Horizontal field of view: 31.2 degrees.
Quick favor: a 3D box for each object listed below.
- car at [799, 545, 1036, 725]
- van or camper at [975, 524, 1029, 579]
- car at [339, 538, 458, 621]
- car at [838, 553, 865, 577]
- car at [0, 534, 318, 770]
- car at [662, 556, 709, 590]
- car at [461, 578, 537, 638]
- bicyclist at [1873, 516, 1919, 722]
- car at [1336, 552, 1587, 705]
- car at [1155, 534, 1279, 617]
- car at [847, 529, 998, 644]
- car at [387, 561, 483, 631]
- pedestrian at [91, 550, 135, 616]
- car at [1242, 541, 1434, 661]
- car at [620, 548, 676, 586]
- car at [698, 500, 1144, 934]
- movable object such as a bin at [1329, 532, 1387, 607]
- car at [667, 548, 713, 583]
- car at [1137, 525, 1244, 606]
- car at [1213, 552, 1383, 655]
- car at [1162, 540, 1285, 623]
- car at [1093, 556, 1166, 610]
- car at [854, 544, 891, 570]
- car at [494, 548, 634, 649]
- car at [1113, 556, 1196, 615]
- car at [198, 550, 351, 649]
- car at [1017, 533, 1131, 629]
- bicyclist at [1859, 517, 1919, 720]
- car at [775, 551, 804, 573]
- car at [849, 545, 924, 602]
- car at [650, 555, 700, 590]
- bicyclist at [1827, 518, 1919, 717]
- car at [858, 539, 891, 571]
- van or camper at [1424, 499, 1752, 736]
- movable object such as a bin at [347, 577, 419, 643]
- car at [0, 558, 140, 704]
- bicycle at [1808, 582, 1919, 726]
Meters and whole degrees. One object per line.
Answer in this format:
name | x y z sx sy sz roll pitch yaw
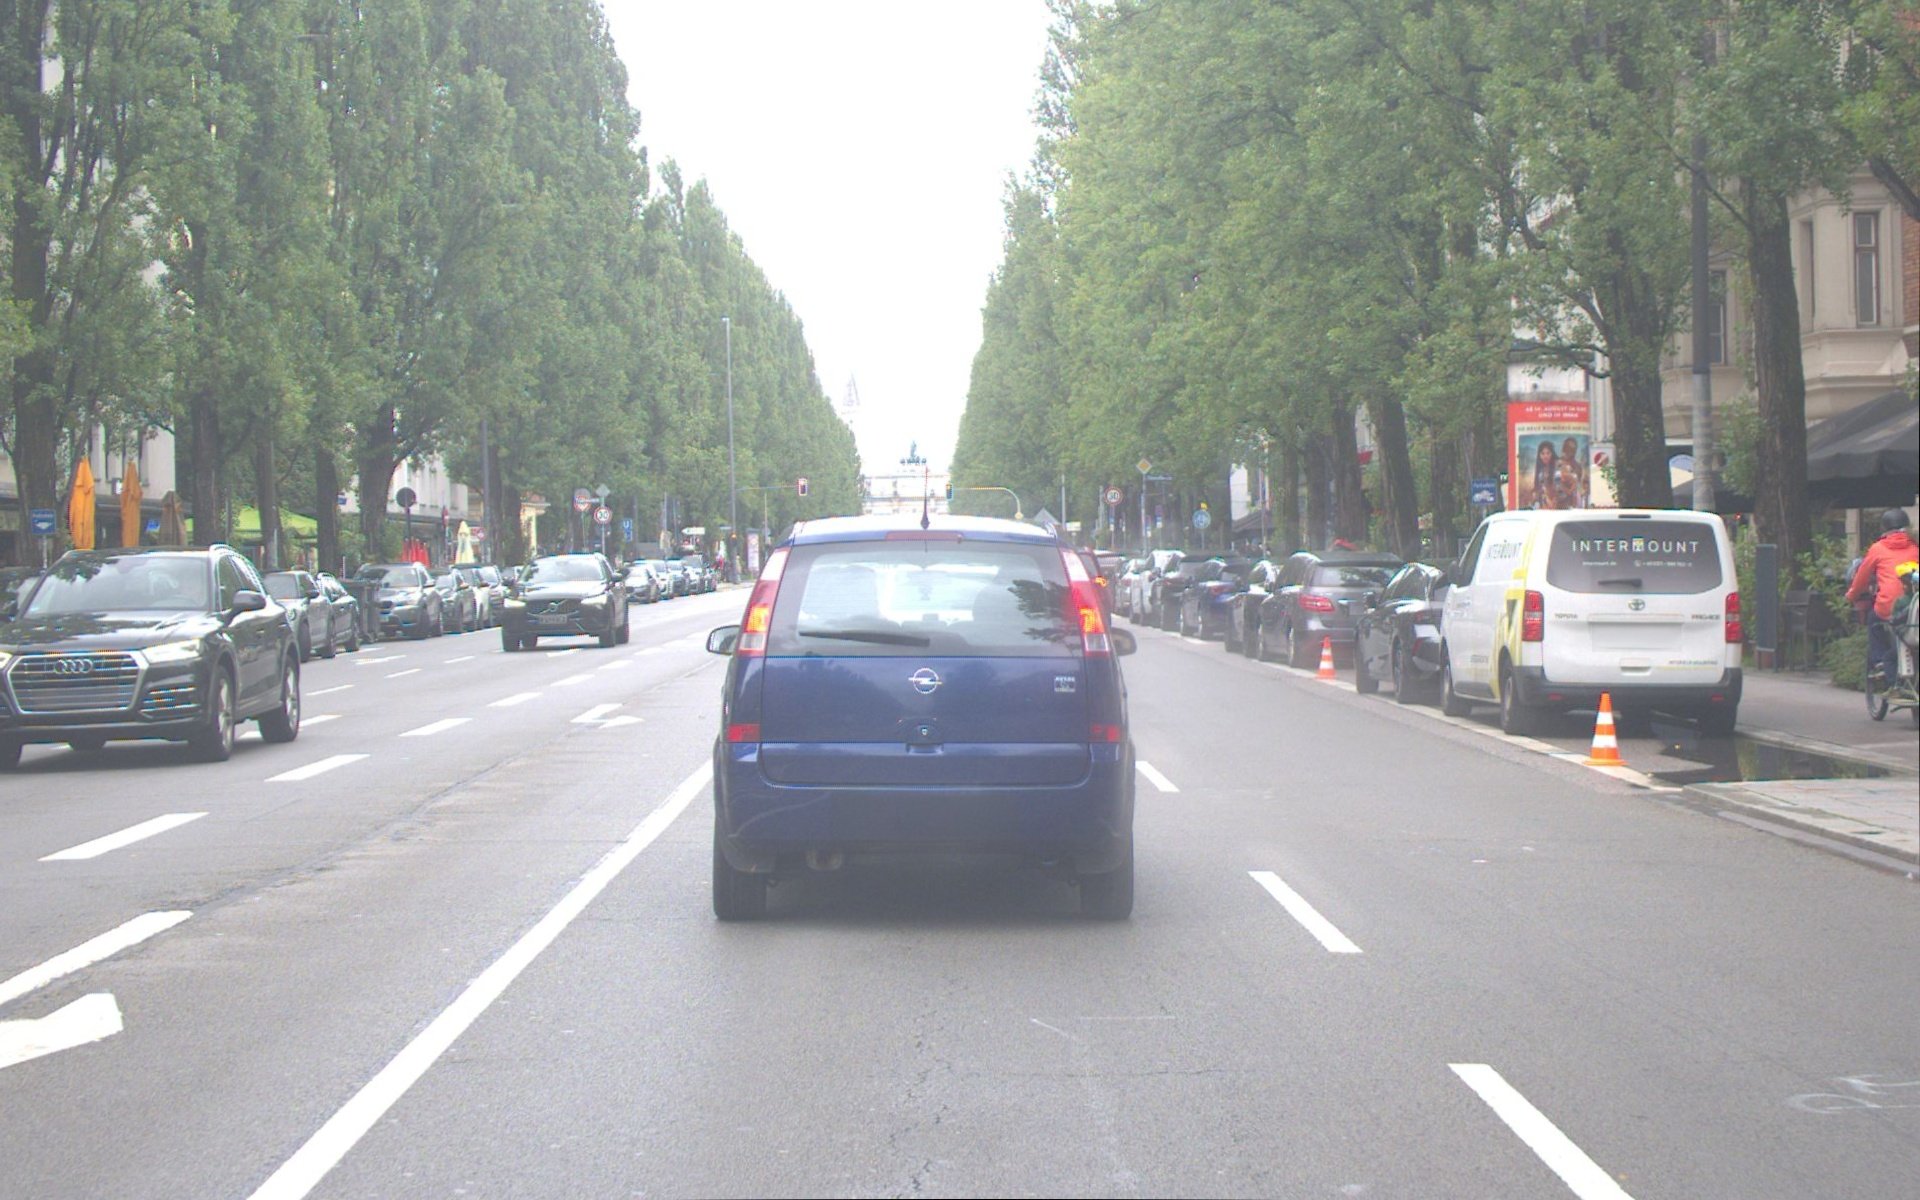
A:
car | -0.414 0.265 31.180 1.993 1.492 4.000 -1 1 -2
van or camper | 2.014 -2.366 166.316 2.476 2.572 5.844 -1 1 0
car | -12.128 -0.455 74.506 1.864 1.649 4.616 -3 1 -2
car | -7.597 -2.470 240.835 1.835 1.671 3.779 -1 1 -1
car | -6.420 0.343 27.081 1.913 1.675 4.586 -1 1 -1
car | -12.885 -1.276 161.787 1.961 1.543 3.779 -1 1 -1
car | -12.396 0.193 92.565 1.573 1.528 2.922 -1 1 2
bicyclist | 7.484 0.142 26.763 0.621 1.583 0.391 -1 1 -1
car | 5.059 0.248 35.232 1.719 1.437 4.354 1 1 -3
car | 5.073 -0.508 68.368 1.993 1.560 4.484 -1 1 -1
car | -0.553 -0.216 48.025 1.993 1.492 4.000 -1 1 -2
car | -12.132 -0.117 79.640 1.697 1.545 4.083 -1 1 -2
pedestrian | -22.736 -0.459 92.297 0.852 1.738 1.148 -1 1 0
car | 5.016 -0.014 46.192 1.816 1.501 4.233 -1 1 -4
car | -11.738 -1.234 129.414 1.830 1.415 3.811 0 0 -1
car | -0.203 0.404 14.958 1.681 1.635 4.000 0 1 -2
movable object such as a bin | 9.257 -0.710 79.964 1.032 1.697 1.587 -1 1 -4
car | -13.210 -1.710 168.498 1.993 1.656 4.000 -1 1 -1
car | 4.918 -0.760 73.953 1.827 1.615 4.748 -2 1 -1
car | 4.982 0.015 51.251 1.878 1.427 4.805 -1 1 -2
car | 4.674 -0.361 61.486 1.749 1.400 4.465 -1 1 -1
car | 4.541 -0.480 92.651 1.681 1.410 3.583 1 1 -1
car | -4.796 -2.379 188.854 1.961 1.395 3.779 -1 1 -1
car | -6.850 -0.056 59.917 1.935 1.618 4.337 -3 1 -1
car | 4.740 -0.373 84.089 1.670 1.401 4.128 1 1 -1
car | -11.514 -0.031 57.984 1.782 1.570 4.133 -1 1 -1
car | 1.934 -0.355 59.375 1.706 1.568 4.000 -1 1 -1
bicyclist | 7.476 0.139 27.101 0.621 1.583 0.481 -1 1 -1
car | -12.336 -2.728 249.004 1.961 1.543 3.779 -1 1 -1
car | -2.043 -0.745 94.835 1.993 1.492 4.000 -1 1 -2
car | -12.632 -1.235 152.525 1.961 1.525 4.000 -1 1 -2
bicyclist | 7.450 0.132 27.867 0.621 1.583 0.753 -1 1 -1
car | -4.844 -2.544 194.841 1.835 1.755 3.779 -1 1 -1
van or camper | 5.330 0.102 29.820 1.868 1.876 4.903 0 1 -1
movable object such as a bin | -11.611 0.198 69.154 1.277 1.305 0.902 -1 1 0
car | -11.562 0.347 42.224 1.820 1.612 4.716 -1 2 0
bicycle | 7.462 0.411 27.707 0.626 1.083 2.264 -1 1 -1
